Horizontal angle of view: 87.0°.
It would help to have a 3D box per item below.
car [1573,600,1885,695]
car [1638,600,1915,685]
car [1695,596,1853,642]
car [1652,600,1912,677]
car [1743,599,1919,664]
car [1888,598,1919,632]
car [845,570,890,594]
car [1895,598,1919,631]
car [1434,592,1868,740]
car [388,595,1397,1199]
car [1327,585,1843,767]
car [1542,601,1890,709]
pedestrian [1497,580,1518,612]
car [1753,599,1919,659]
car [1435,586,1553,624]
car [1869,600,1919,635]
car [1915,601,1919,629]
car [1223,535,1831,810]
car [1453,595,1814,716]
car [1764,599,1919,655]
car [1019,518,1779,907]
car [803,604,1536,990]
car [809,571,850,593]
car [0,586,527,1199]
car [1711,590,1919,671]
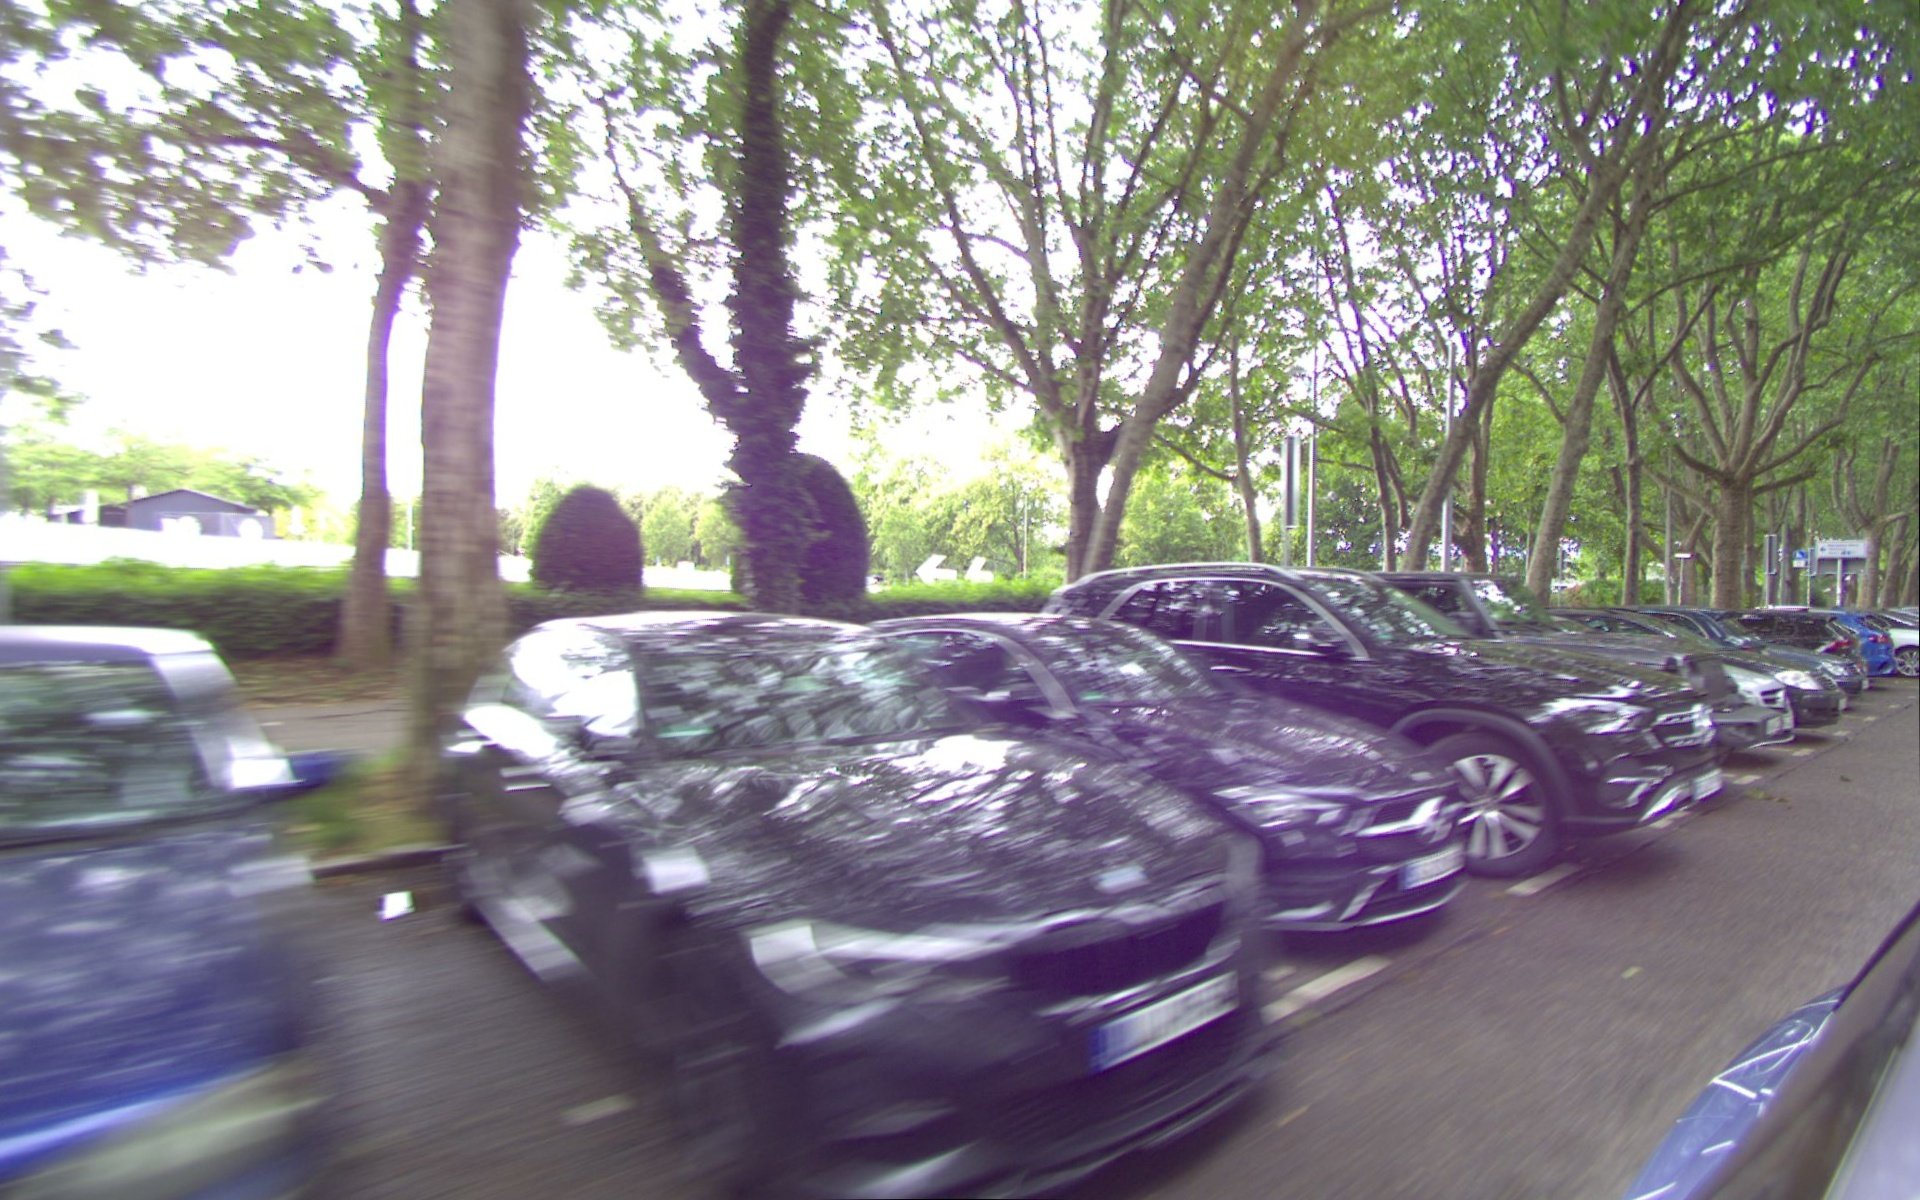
[{"bbox_3d":[13.485,0.745,17.936,1.755,1.474,4.199,1,-1,-43],"label":"car"},{"bbox_3d":[15.646,0.742,19.515,4.016,1.466,1.884,0,-1,44],"label":"car"},{"bbox_3d":[29.840,0.654,37.188,1.754,1.480,4.283,0,2,-42],"label":"car"},{"bbox_3d":[17.254,0.736,21.400,1.752,1.466,4.023,1,-1,-40],"label":"car"},{"bbox_3d":[21.251,0.703,24.123,1.688,1.435,3.838,1,0,-40],"label":"car"},{"bbox_3d":[44.144,0.681,44.819,1.966,1.496,4.377,-1,1,-42],"label":"car"},{"bbox_3d":[-8.064,-1.565,87.858,1.965,2.039,3.995,0,1,-40],"label":"car"},{"bbox_3d":[46.285,0.641,46.552,1.966,1.542,4.669,0,-1,-42],"label":"car"},{"bbox_3d":[8.488,0.710,12.756,1.754,1.538,4.202,0,-1,-41],"label":"car"},{"bbox_3d":[-0.839,0.714,4.180,1.898,1.446,4.504,0,0,-40],"label":"car"},{"bbox_3d":[6.673,0.677,11.303,2.009,1.592,4.507,1,-1,-37],"label":"car"},{"bbox_3d":[11.829,0.764,16.049,1.755,1.474,4.199,1,-1,-43],"label":"car"},{"bbox_3d":[28.004,-0.213,51.787,0.685,1.587,0.725,0,0,-34],"label":"pedestrian"},{"bbox_3d":[22.960,0.708,25.916,4.018,1.435,1.880,0,0,44],"label":"car"},{"bbox_3d":[23.713,0.187,45.063,1.754,1.480,4.283,0,2,-42],"label":"car"},{"bbox_3d":[42.444,0.729,43.503,1.966,1.525,4.824,0,-1,-42],"label":"car"},{"bbox_3d":[53.979,0.783,53.558,1.962,1.542,4.678,0,-1,-35],"label":"car"},{"bbox_3d":[4.911,0.510,9.379,2.010,1.890,4.506,1,-1,-38],"label":"car"},{"bbox_3d":[9.825,0.709,15.013,1.755,1.538,4.199,1,-1,-43],"label":"car"},{"bbox_3d":[24.980,0.701,27.530,1.687,1.435,4.600,1,0,-37],"label":"car"},{"bbox_3d":[2.696,0.534,7.122,2.011,1.819,4.503,1,-1,-41],"label":"car"},{"bbox_3d":[0.839,0.734,5.848,1.708,1.408,3.992,0,0,-39],"label":"car"},{"bbox_3d":[-11.915,-1.631,92.234,1.965,2.039,3.995,0,1,-40],"label":"car"},{"bbox_3d":[-2.861,0.703,2.976,1.796,1.438,4.505,0,0,-39],"label":"car"},{"bbox_3d":[19.636,0.627,22.383,2.018,1.644,4.533,1,0,-40],"label":"car"}]
